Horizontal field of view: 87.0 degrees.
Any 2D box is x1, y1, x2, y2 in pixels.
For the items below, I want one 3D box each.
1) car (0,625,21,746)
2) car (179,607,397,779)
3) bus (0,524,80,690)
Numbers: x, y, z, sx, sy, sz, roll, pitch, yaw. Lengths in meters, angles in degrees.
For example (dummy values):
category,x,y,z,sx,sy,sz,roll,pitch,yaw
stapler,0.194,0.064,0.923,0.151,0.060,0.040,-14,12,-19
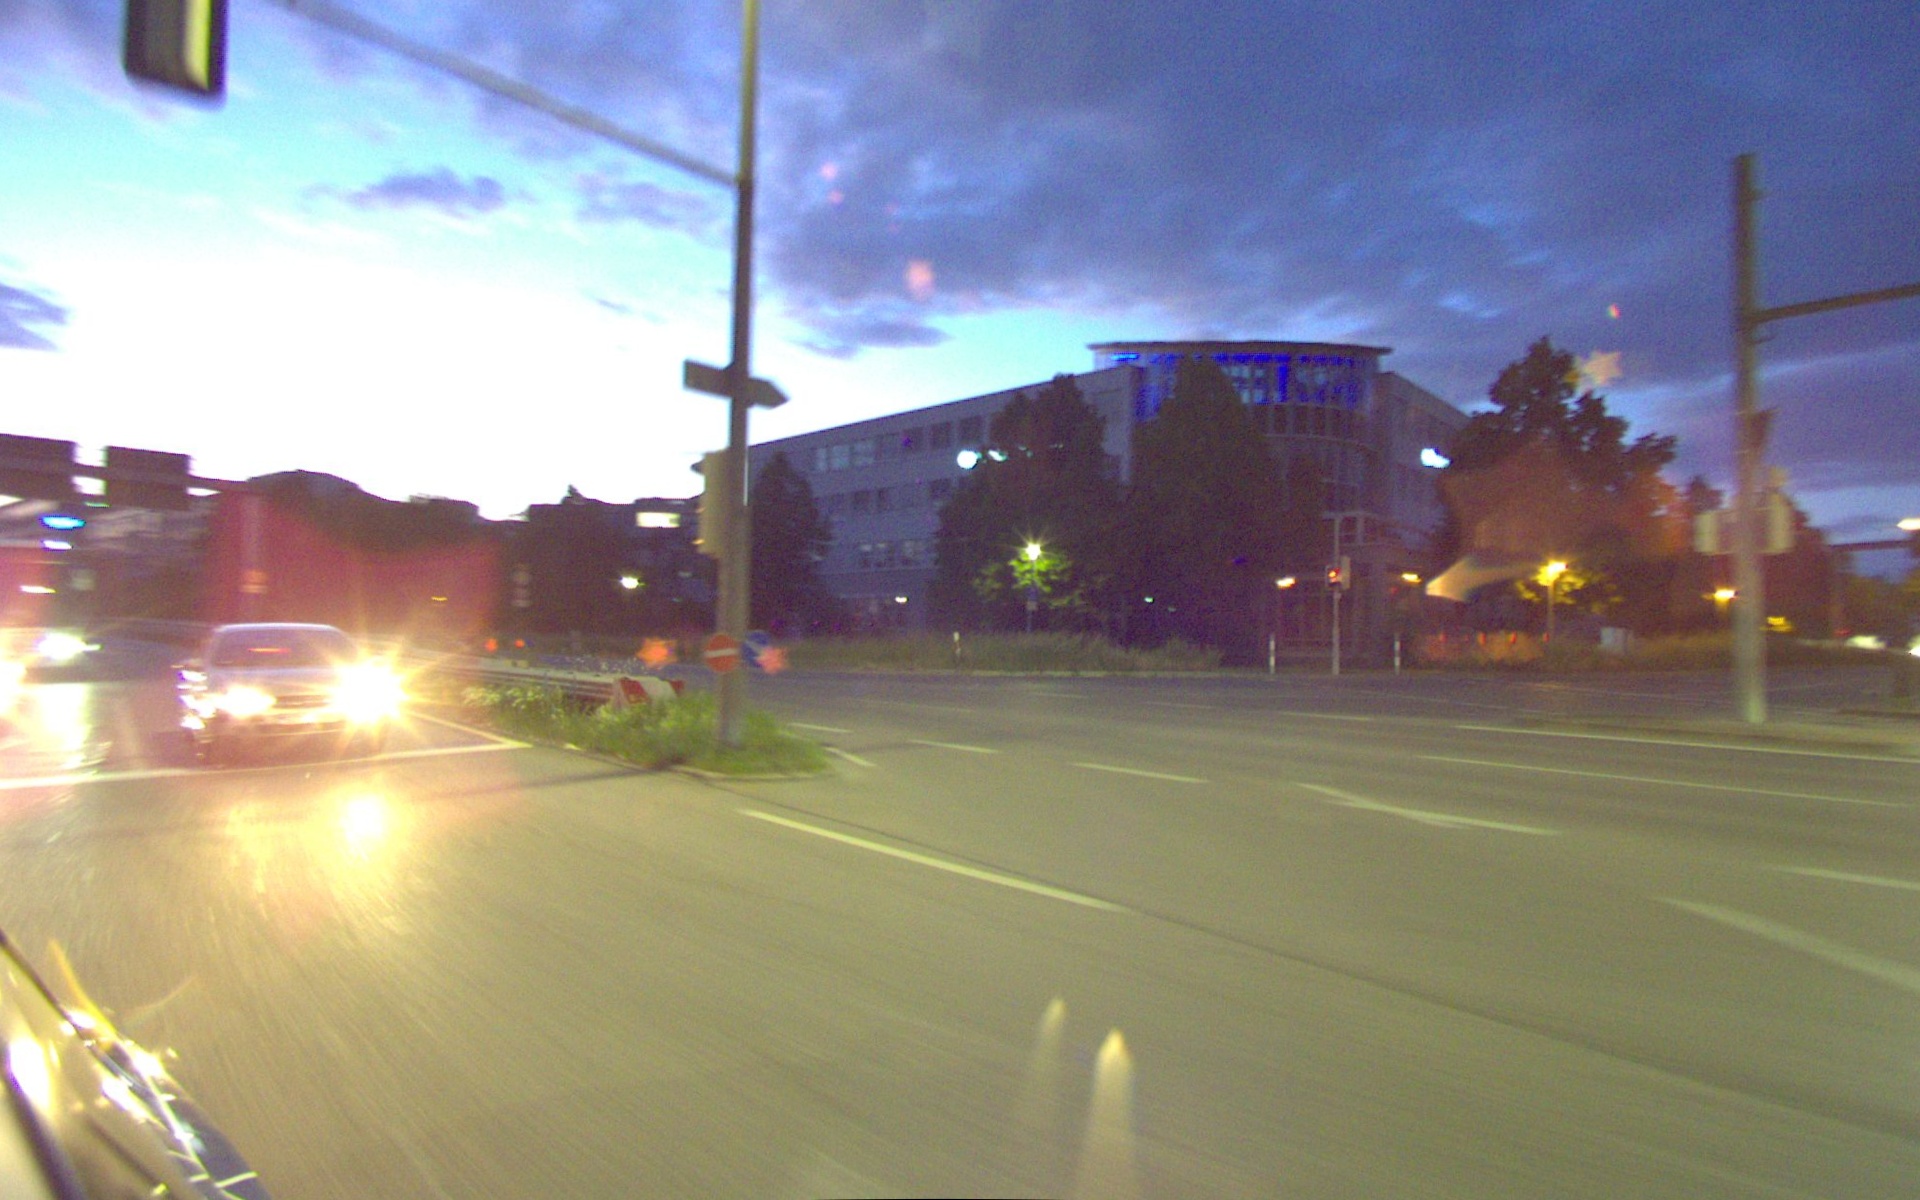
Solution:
category,x,y,z,sx,sy,sz,roll,pitch,yaw
car,-13.678,1.085,13.388,1.645,1.492,3.782,1,-2,-40
car,-8.117,0.949,12.036,1.645,1.665,4.417,0,-1,-40
bus,-26.196,0.241,27.795,2.576,3.819,12.287,1,-1,-43
